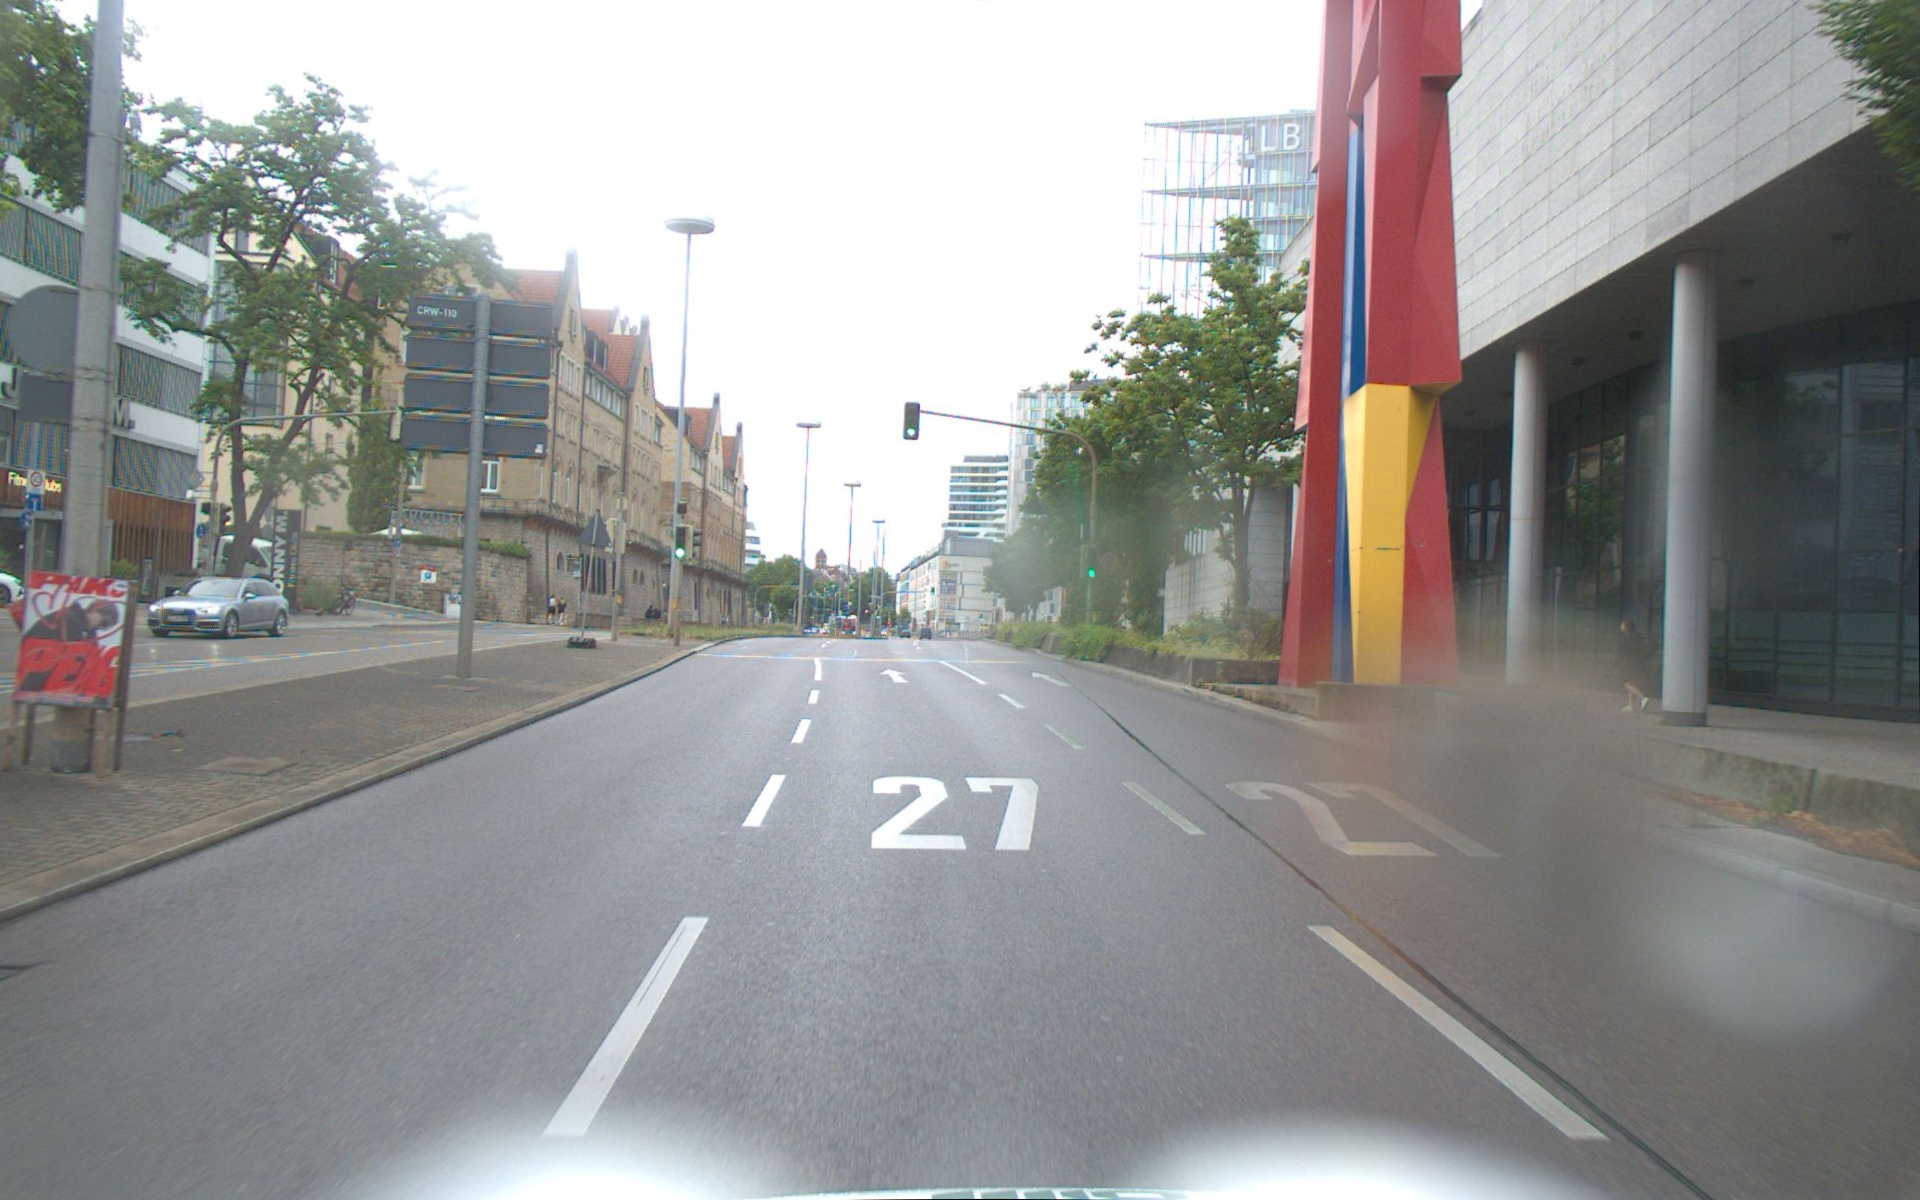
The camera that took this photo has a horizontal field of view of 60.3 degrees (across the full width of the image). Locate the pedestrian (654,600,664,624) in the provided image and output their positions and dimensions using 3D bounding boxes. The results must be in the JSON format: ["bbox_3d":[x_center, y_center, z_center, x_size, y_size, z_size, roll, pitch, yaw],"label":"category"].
[{"bbox_3d":[-22.549,0.913,123.835,0.627,1.776,0.621,1,0,-2],"label":"pedestrian"}]

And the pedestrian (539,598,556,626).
[{"bbox_3d":[-22.713,0.659,91.151,0.739,1.503,0.714,1,0,-1],"label":"pedestrian"}]

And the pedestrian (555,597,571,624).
[{"bbox_3d":[-21.882,0.573,91.159,0.739,1.503,0.714,1,0,-1],"label":"pedestrian"}]

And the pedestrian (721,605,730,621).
[{"bbox_3d":[-22.626,1.288,159.324,0.739,1.503,0.714,1,0,-1],"label":"pedestrian"}]

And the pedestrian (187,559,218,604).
[{"bbox_3d":[-28.737,-0.700,62.762,0.752,1.670,0.841,1,0,-1],"label":"pedestrian"}]

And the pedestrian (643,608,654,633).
[{"bbox_3d":[-22.317,1.491,118.491,0.627,1.776,0.621,1,0,-2],"label":"pedestrian"}]

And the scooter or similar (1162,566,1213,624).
[{"bbox_3d":[6.407,-0.136,46.613,1.296,1.557,0.502,3,0,1],"label":"scooter or similar"}]

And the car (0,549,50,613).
[{"bbox_3d":[-27.603,-0.680,44.709,1.962,1.682,4.821,3,-2,38],"label":"car"}]

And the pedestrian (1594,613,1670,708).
[{"bbox_3d":[11.768,1.045,28.975,0.951,1.614,0.841,1,0,-4],"label":"pedestrian"}]

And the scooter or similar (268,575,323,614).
[{"bbox_3d":[-24.025,-0.189,59.833,1.731,1.268,0.366,6,-3,-30],"label":"scooter or similar"}]

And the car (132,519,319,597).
[{"bbox_3d":[-31.853,-1.853,71.850,6.767,2.313,2.515,9,3,0],"label":"car"}]

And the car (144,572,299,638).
[{"bbox_3d":[-17.739,0.104,39.987,1.955,1.472,4.875,1,0,-6],"label":"car"}]

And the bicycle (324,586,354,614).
[{"bbox_3d":[-24.058,0.009,64.095,0.447,1.008,1.758,2,-1,0],"label":"bicycle"}]
